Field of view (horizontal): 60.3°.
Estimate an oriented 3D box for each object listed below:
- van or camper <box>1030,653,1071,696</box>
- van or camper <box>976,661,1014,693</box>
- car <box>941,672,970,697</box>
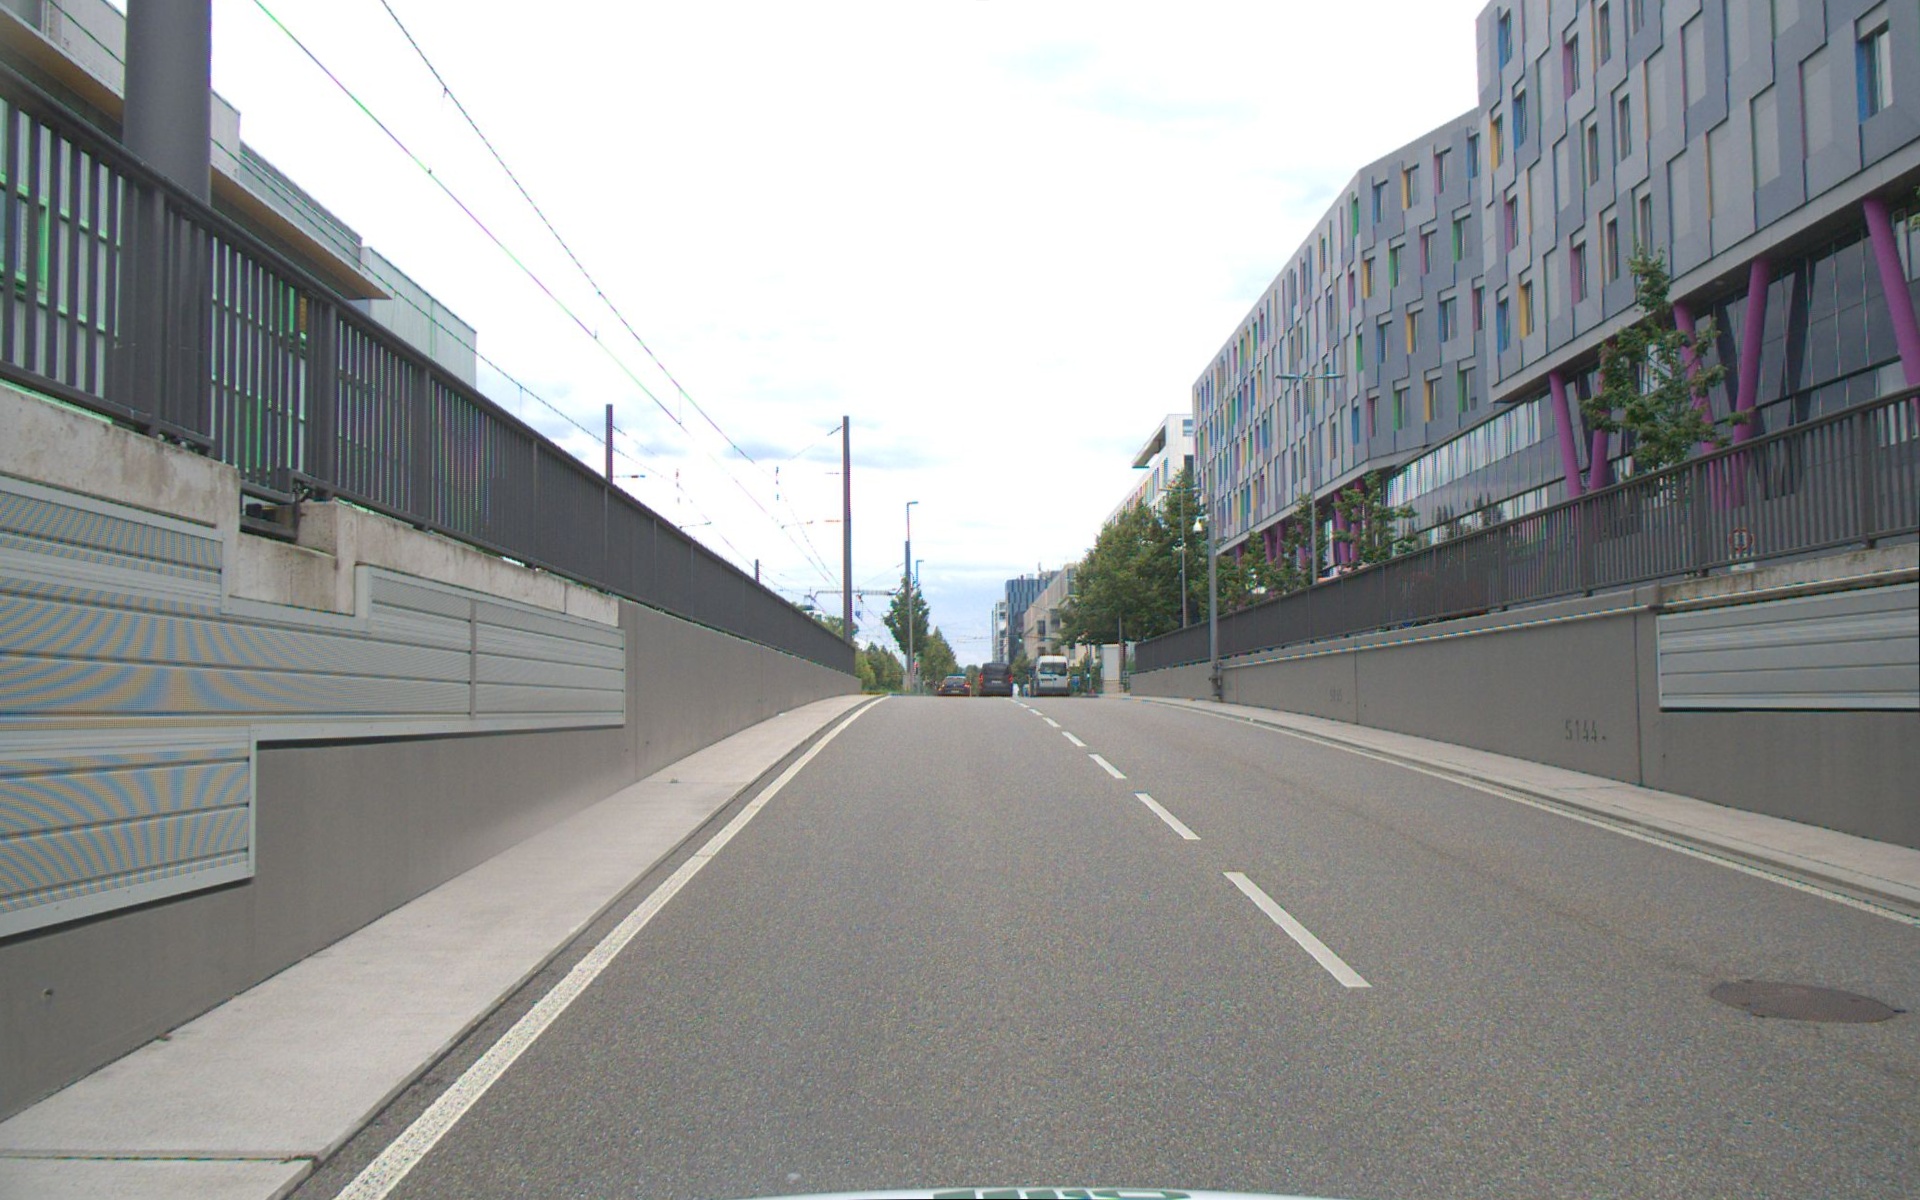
[{"bbox_3d":[5.153,4.259,94.790,2.066,2.398,4.922,0,-2,0],"label":"van or camper"},{"bbox_3d":[1.865,4.178,89.717,1.952,1.644,4.787,0,-3,0],"label":"van or camper"},{"bbox_3d":[-0.317,5.194,101.782,1.708,1.442,3.998,1,-4,-1],"label":"car"}]
